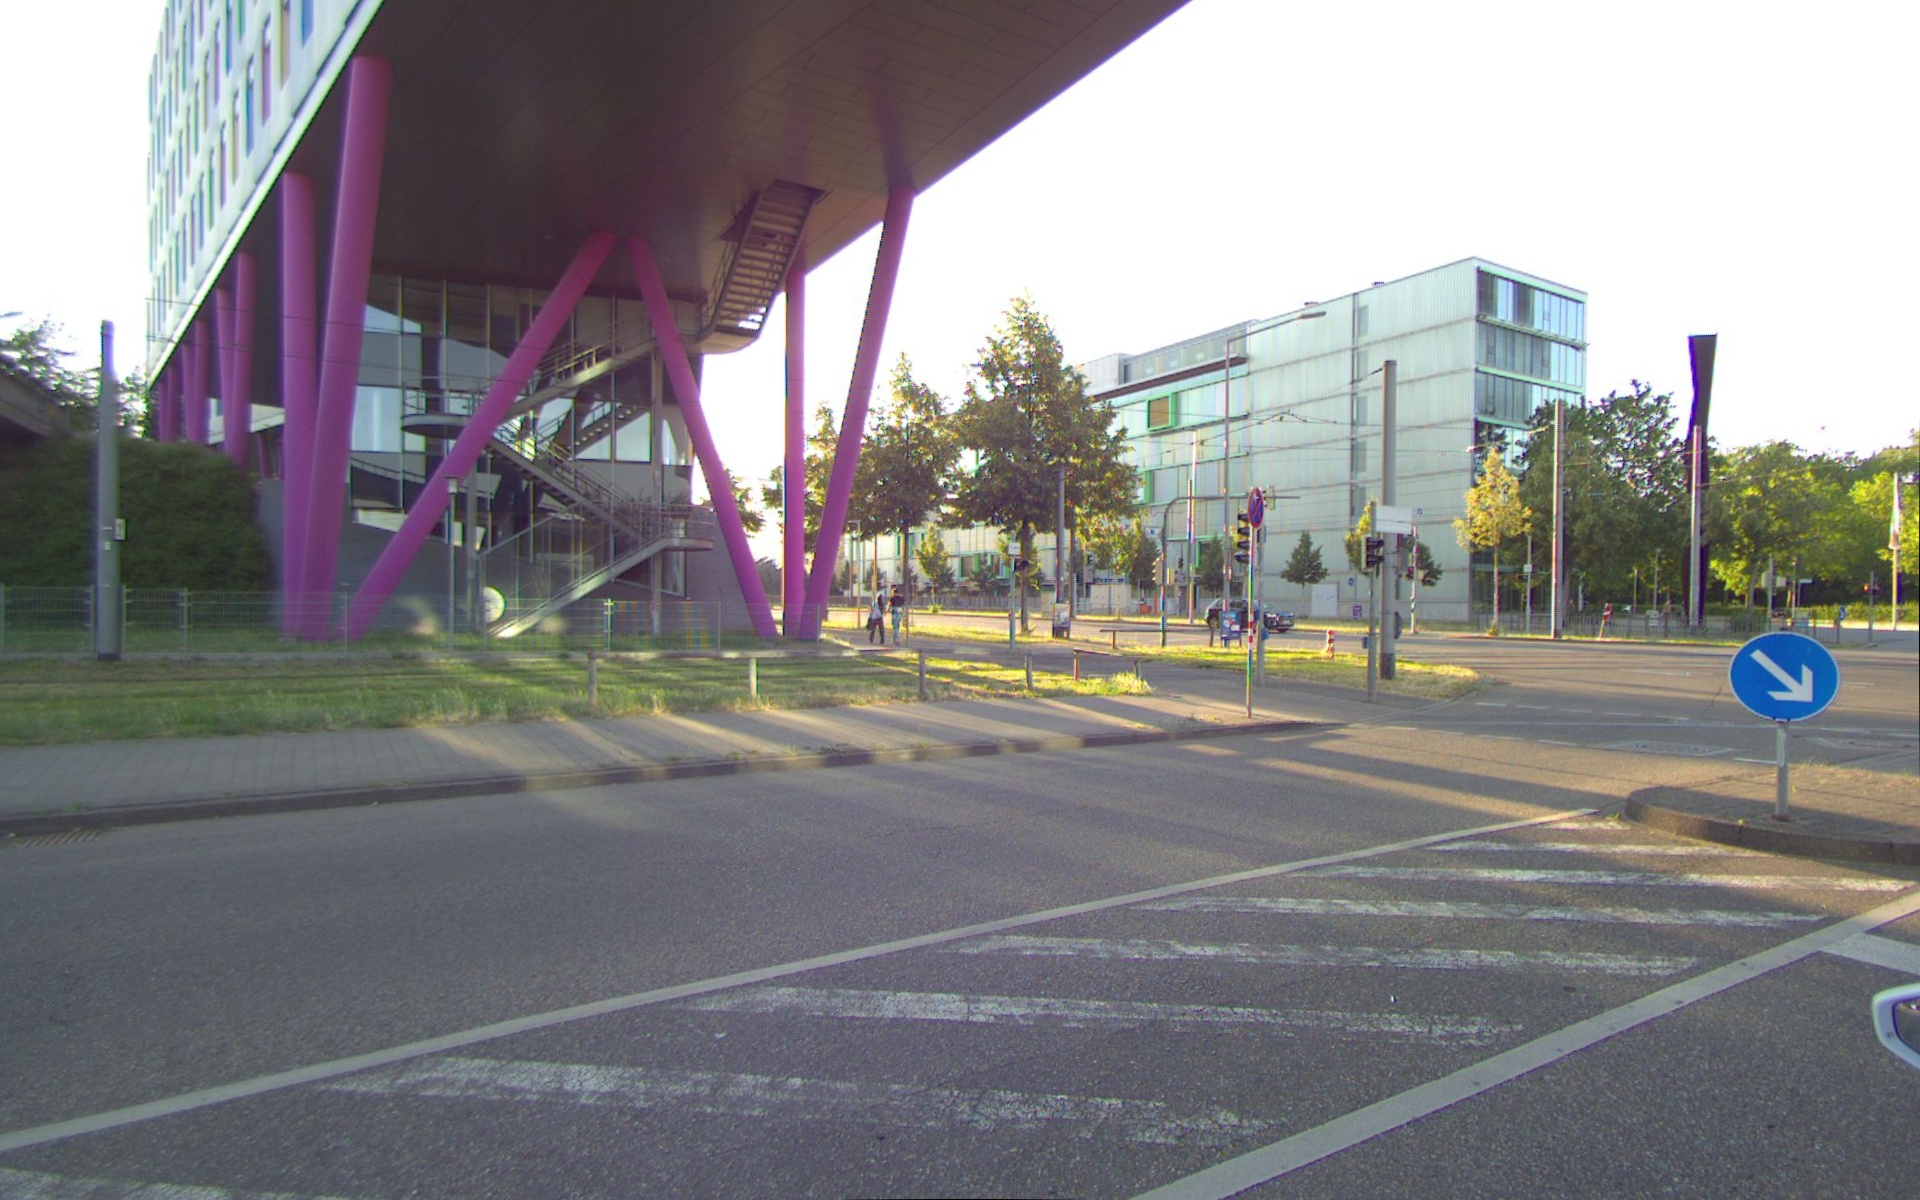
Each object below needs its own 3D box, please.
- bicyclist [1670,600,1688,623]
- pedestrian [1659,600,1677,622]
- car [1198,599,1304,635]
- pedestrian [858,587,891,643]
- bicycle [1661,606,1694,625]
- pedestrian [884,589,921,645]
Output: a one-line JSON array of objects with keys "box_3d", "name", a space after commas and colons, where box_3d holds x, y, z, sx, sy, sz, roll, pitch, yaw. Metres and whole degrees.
[{"box_3d": [53.631, 0.835, 74.941, 0.738, 1.732, 0.920, 1, 0, 6], "name": "bicyclist"}, {"box_3d": [57.457, 0.918, 81.547, 0.815, 1.767, 0.861, 1, 0, -9], "name": "pedestrian"}, {"box_3d": [13.337, 0.754, 46.260, 1.968, 1.577, 4.448, 1, 0, -34], "name": "car"}, {"box_3d": [-2.711, 0.495, 31.725, 0.754, 1.727, 0.881, 1, -2, -28], "name": "pedestrian"}, {"box_3d": [53.587, 1.152, 75.011, 0.717, 1.359, 2.692, 1, 0, 5], "name": "bicycle"}, {"box_3d": [-1.819, 0.554, 31.927, 0.921, 1.747, 0.877, 1, -2, -26], "name": "pedestrian"}]
